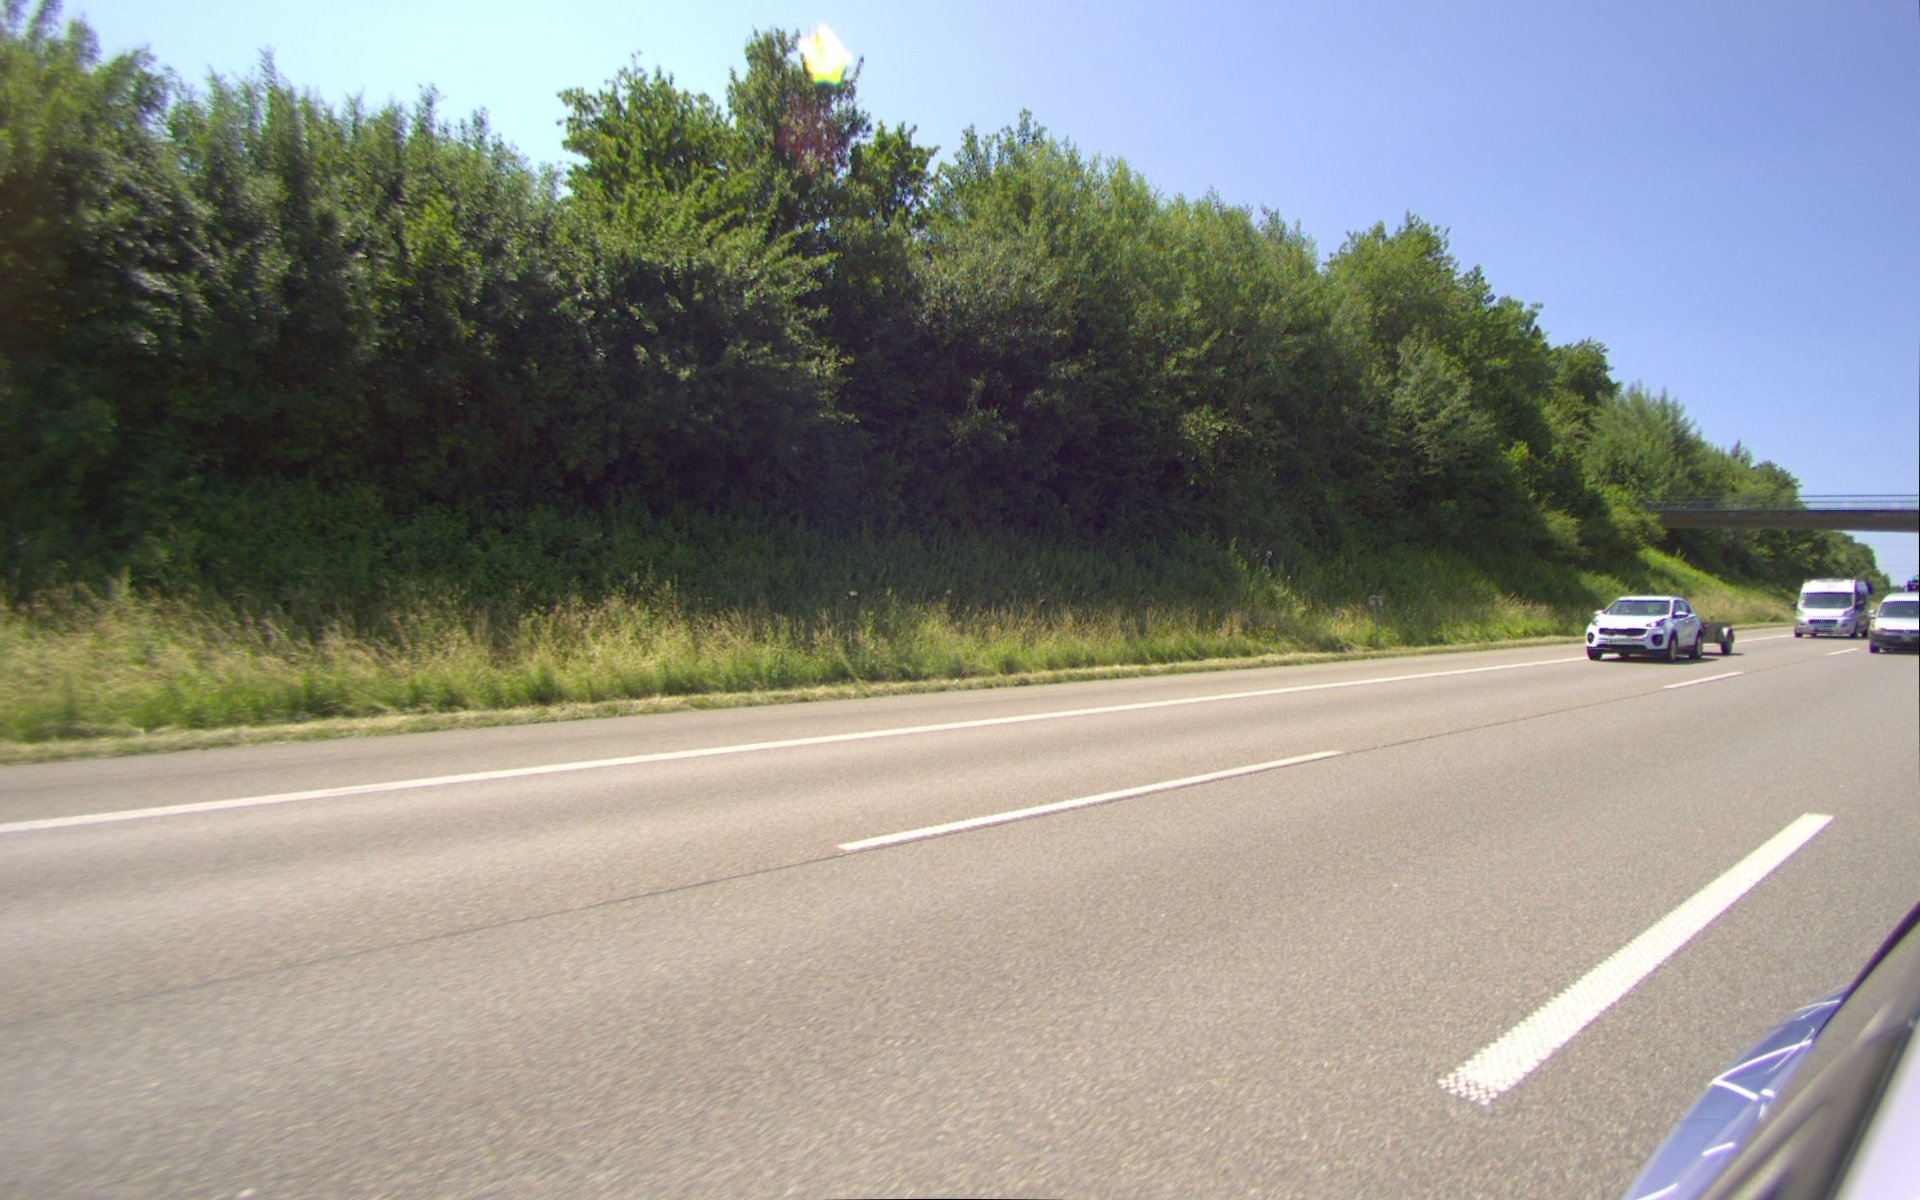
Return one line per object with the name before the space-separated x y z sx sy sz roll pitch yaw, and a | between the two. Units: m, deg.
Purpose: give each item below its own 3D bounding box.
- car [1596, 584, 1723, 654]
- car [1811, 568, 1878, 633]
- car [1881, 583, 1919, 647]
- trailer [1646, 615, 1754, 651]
car | 18.279 0.495 26.378 4.327 1.672 1.783 2 -1 -42
car | 38.640 0.072 44.264 2.087 2.609 6.522 0 -1 41
car | 29.468 0.433 30.825 4.720 1.853 1.747 0 0 -44
trailer | 21.449 0.915 29.266 4.246 0.920 1.756 0 0 -43
